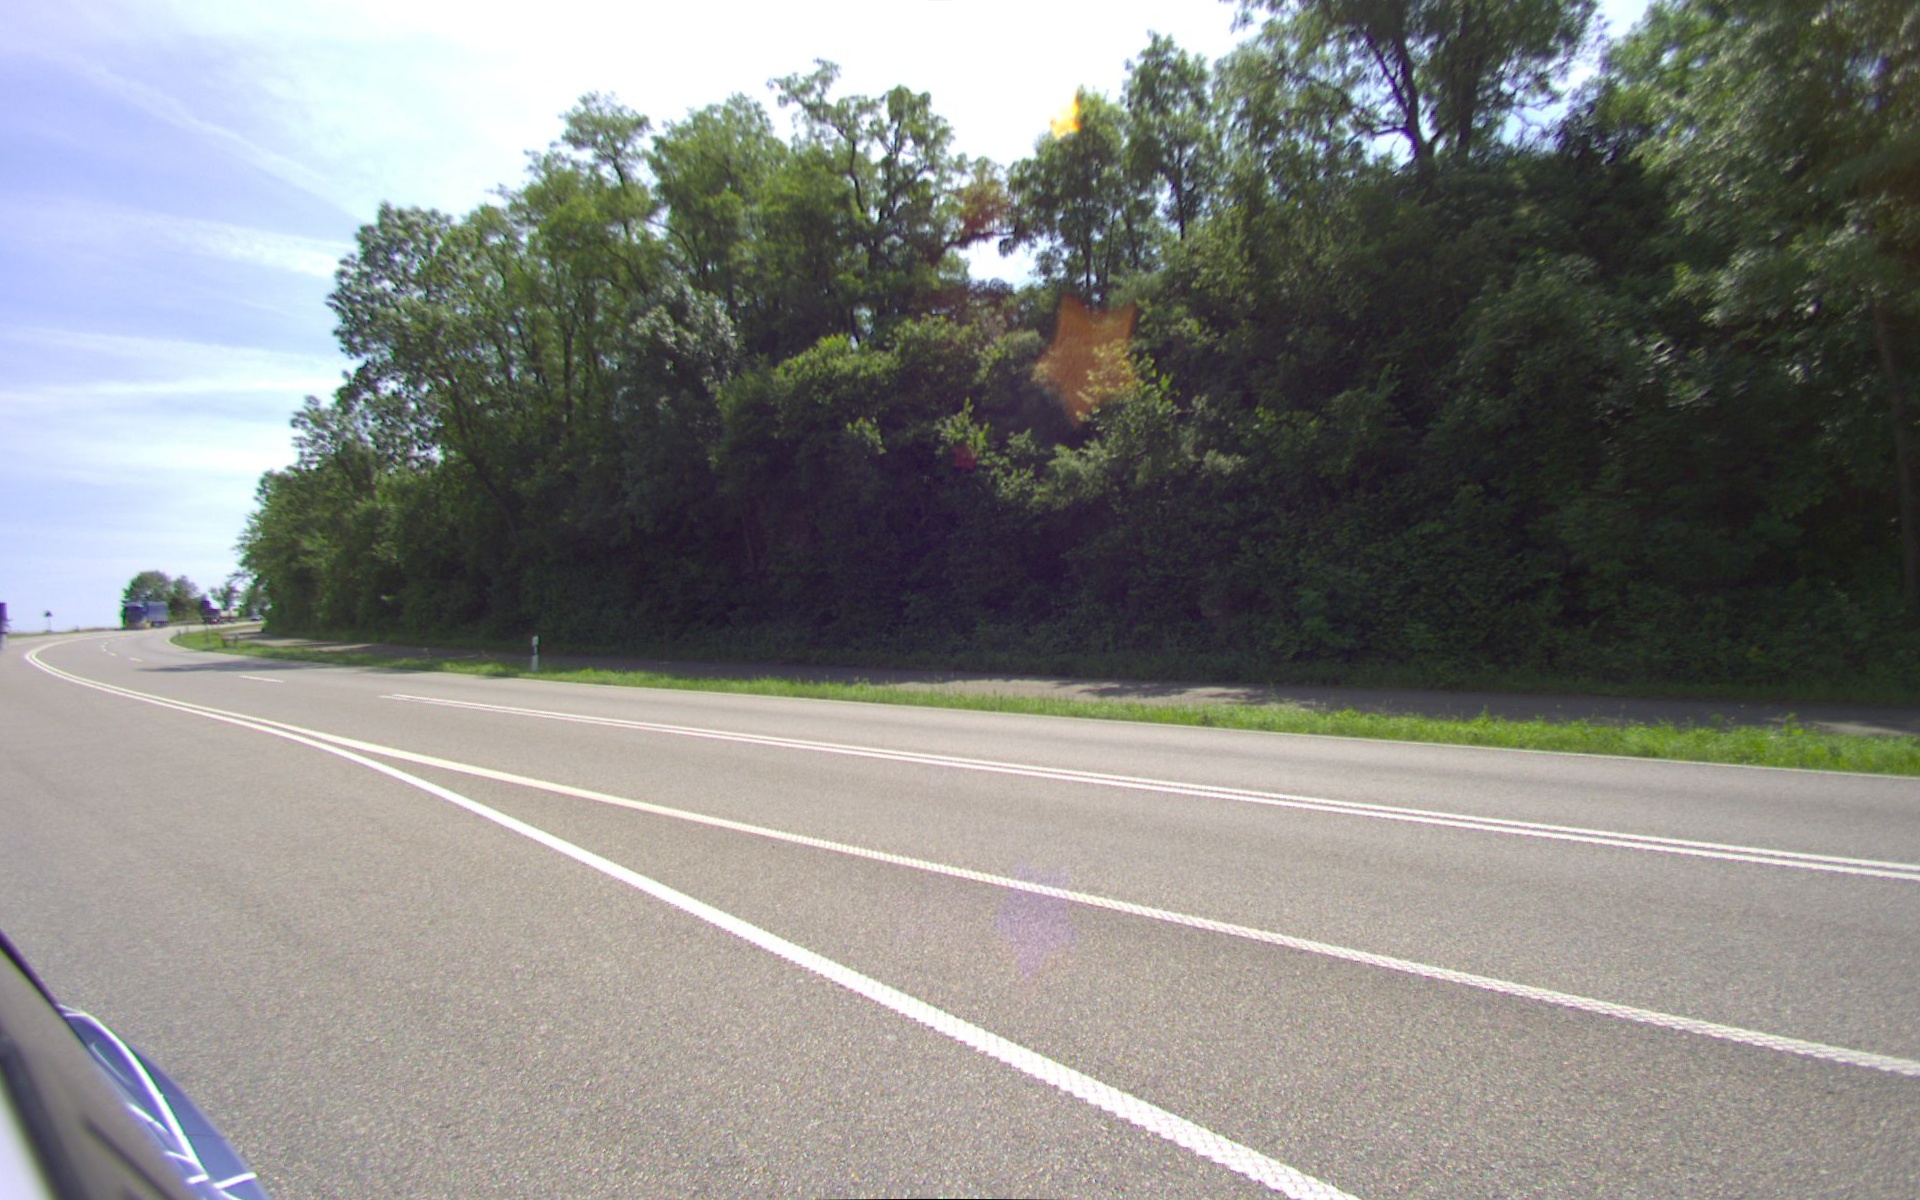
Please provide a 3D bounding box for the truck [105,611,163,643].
[{"bbox_3d":[-124.537,4.019,152.820,4.326,4.493,14.757,-1,-1,-29],"label":"truck"}]

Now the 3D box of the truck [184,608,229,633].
[{"bbox_3d":[-143.902,3.908,193.407,3.920,4.493,14.387,-1,-1,-25],"label":"truck"}]
